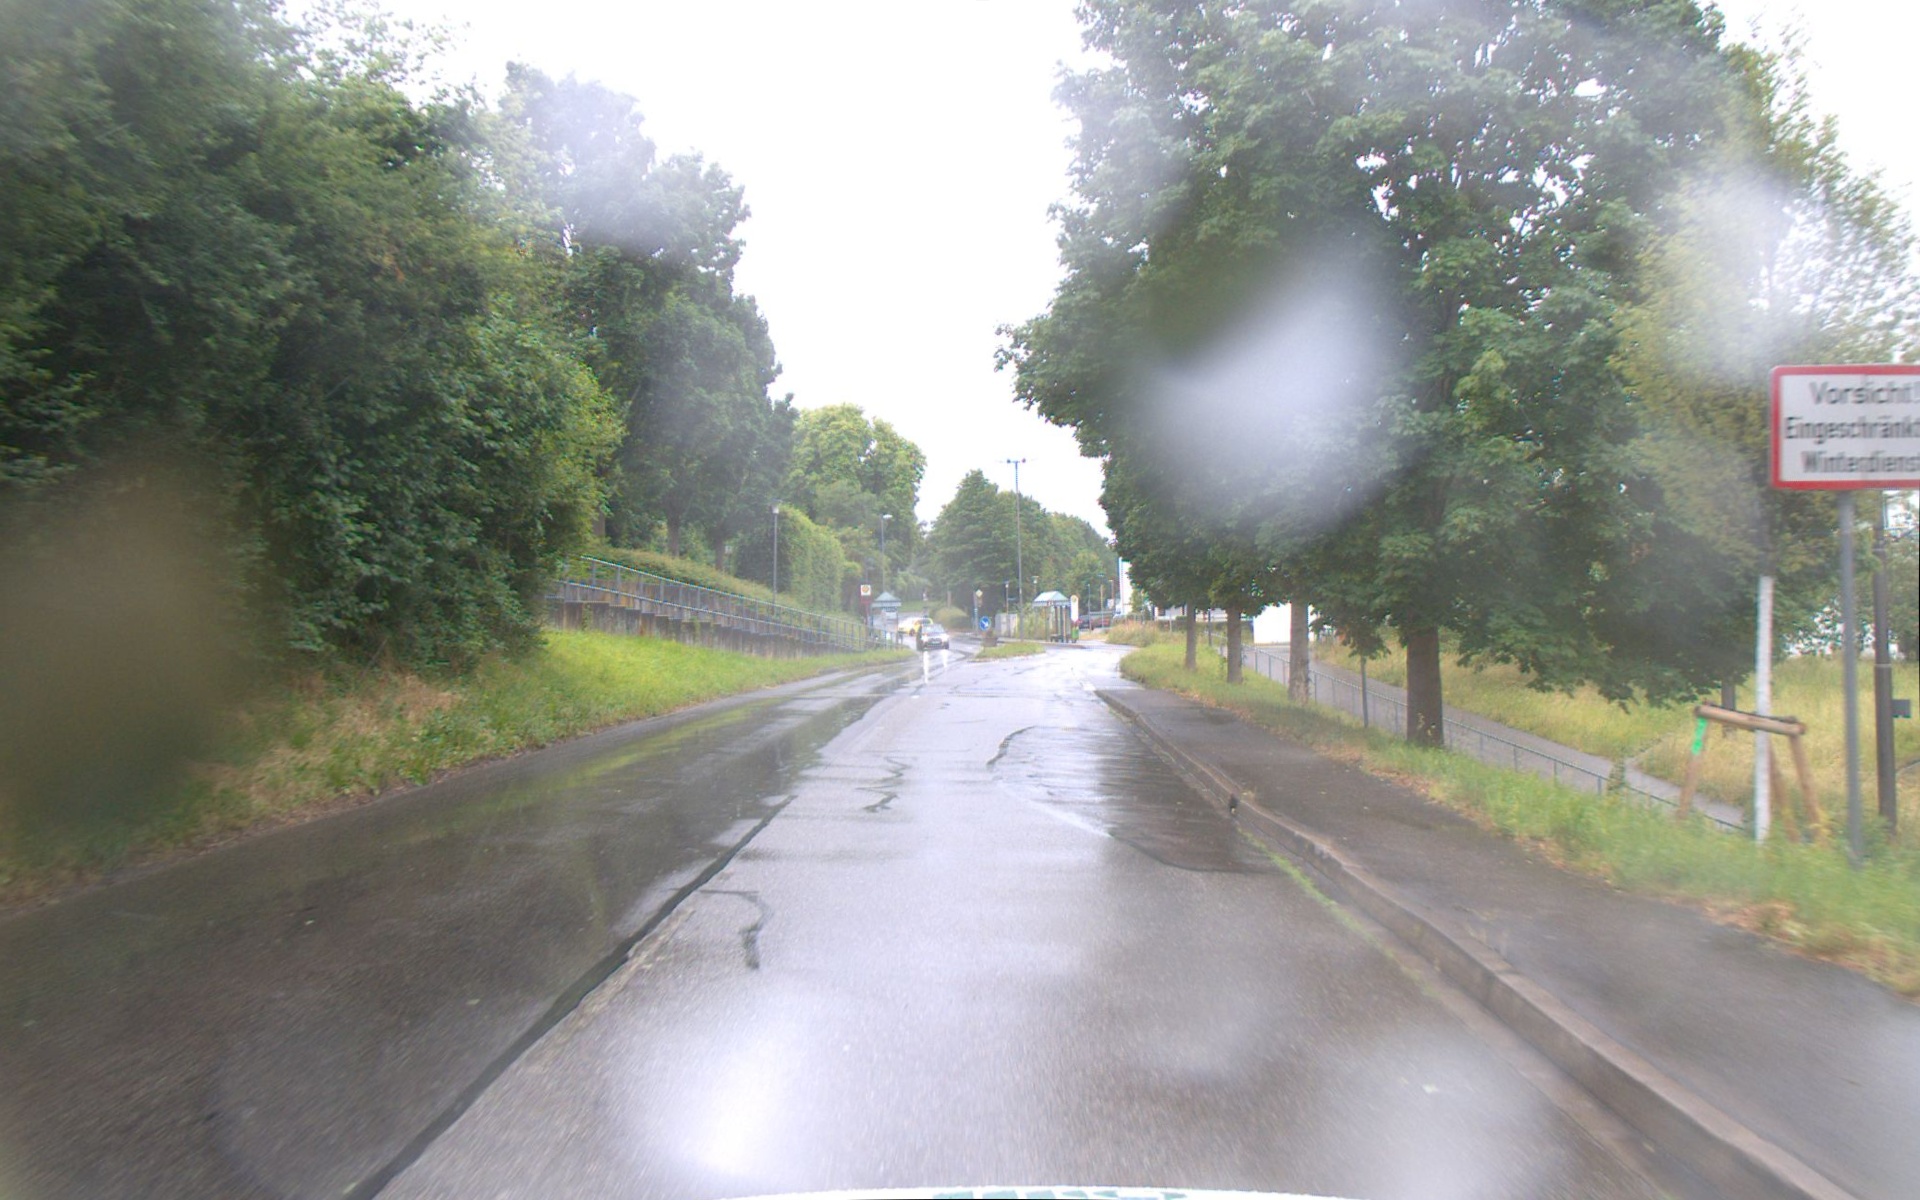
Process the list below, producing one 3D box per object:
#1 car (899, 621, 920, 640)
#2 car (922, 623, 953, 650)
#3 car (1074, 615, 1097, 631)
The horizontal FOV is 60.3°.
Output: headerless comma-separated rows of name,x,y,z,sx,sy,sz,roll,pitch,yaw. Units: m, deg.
car,-4.333,2.595,140.926,1.542,1.435,3.470,-3,0,-5
car,-1.393,2.229,101.000,1.725,1.529,4.139,-3,-1,-2
car,12.652,2.330,167.114,1.655,1.463,3.608,-1,1,-5
